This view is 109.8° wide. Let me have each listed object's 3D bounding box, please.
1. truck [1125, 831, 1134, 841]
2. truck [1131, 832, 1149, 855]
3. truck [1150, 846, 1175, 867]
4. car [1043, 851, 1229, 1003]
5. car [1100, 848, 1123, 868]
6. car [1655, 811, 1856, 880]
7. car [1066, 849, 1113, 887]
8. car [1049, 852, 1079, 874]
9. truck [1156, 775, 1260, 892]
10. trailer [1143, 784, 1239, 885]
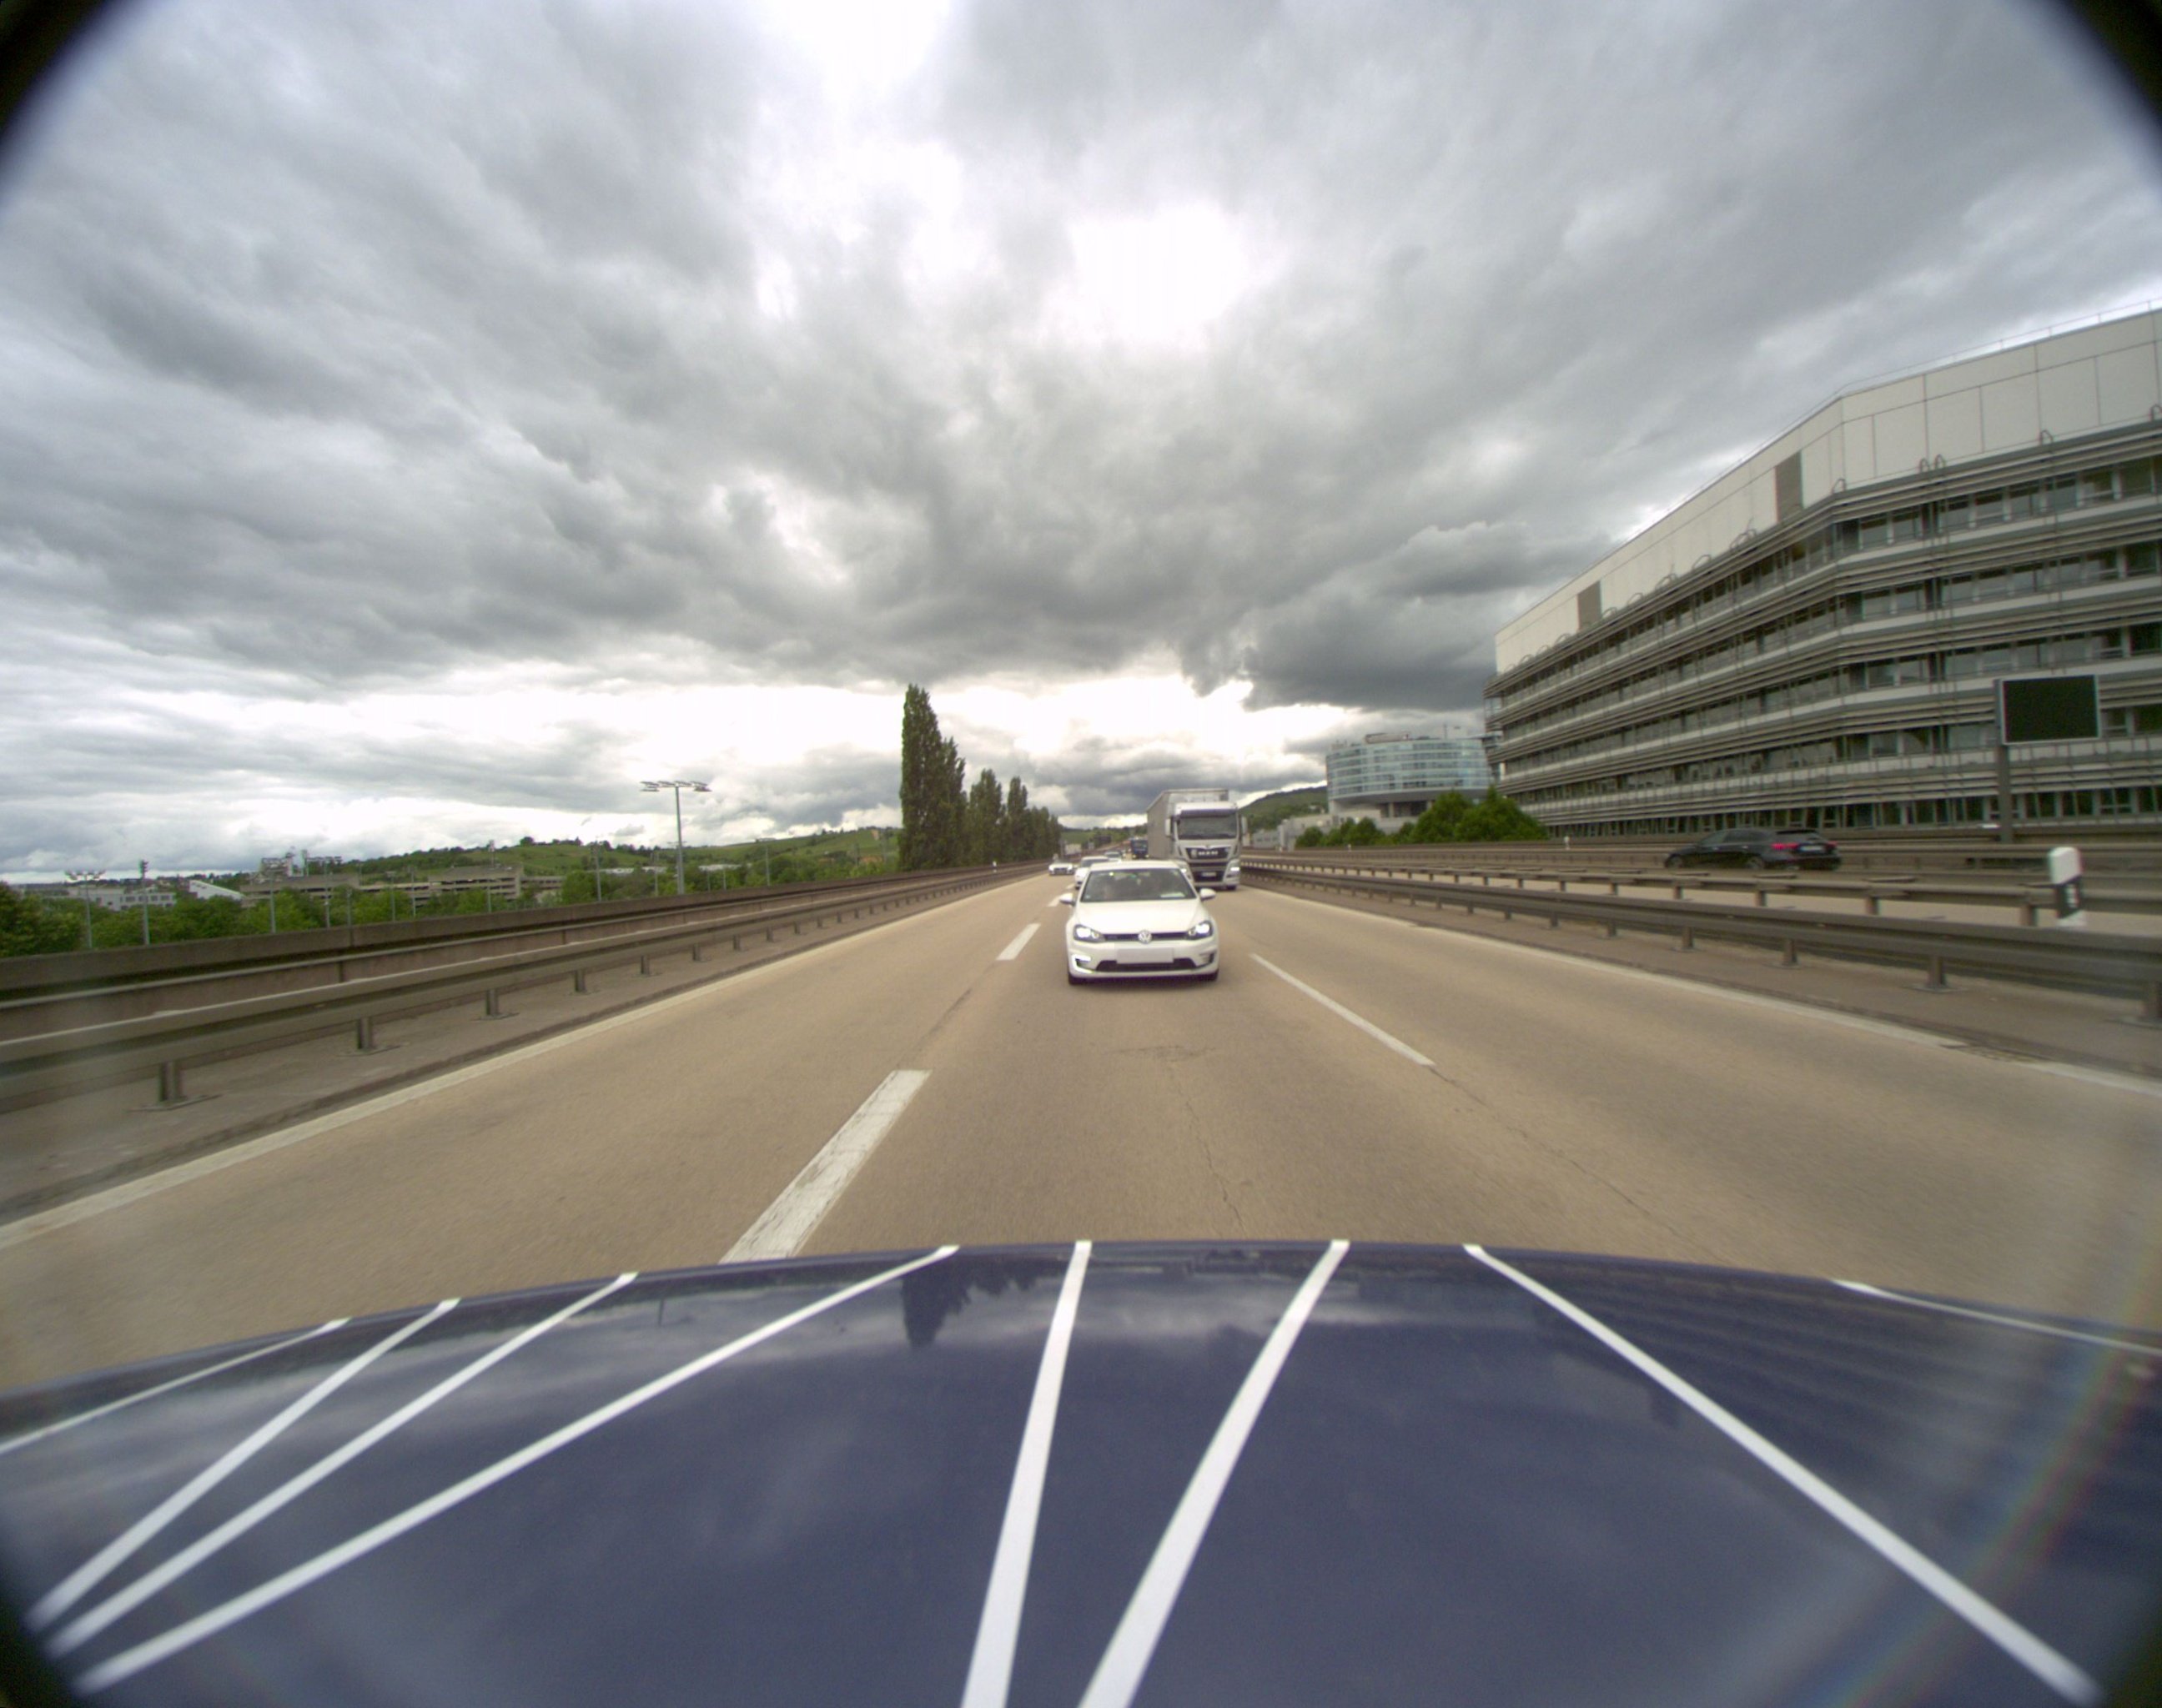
[{"bbox_3d":[15.936,-5.822,250.675,2.625,3.220,6.687,-2,1,5],"label":"truck"},{"bbox_3d":[8.582,-1.578,110.579,2.336,3.220,6.687,-2,1,5],"label":"truck"},{"bbox_3d":[6.399,0.183,59.844,1.829,1.521,3.514,-2,1,4],"label":"truck"},{"bbox_3d":[0.722,0.778,10.126,1.930,1.499,4.061,-2,1,4],"label":"car"},{"bbox_3d":[2.893,0.352,70.952,1.930,1.585,4.061,-3,1,4],"label":"car"},{"bbox_3d":[18.580,-0.251,21.249,1.687,1.641,4.358,-3,1,0],"label":"car"},{"bbox_3d":[0.476,0.624,36.069,1.930,1.499,4.061,-3,1,4],"label":"car"},{"bbox_3d":[-1.291,0.676,59.885,1.930,1.499,4.061,-3,1,4],"label":"car"},{"bbox_3d":[4.826,-0.790,30.066,3.142,4.015,5.688,-4,1,2],"label":"truck"},{"bbox_3d":[5.067,-0.926,37.545,3.189,4.003,11.764,-4,1,2],"label":"trailer"}]
